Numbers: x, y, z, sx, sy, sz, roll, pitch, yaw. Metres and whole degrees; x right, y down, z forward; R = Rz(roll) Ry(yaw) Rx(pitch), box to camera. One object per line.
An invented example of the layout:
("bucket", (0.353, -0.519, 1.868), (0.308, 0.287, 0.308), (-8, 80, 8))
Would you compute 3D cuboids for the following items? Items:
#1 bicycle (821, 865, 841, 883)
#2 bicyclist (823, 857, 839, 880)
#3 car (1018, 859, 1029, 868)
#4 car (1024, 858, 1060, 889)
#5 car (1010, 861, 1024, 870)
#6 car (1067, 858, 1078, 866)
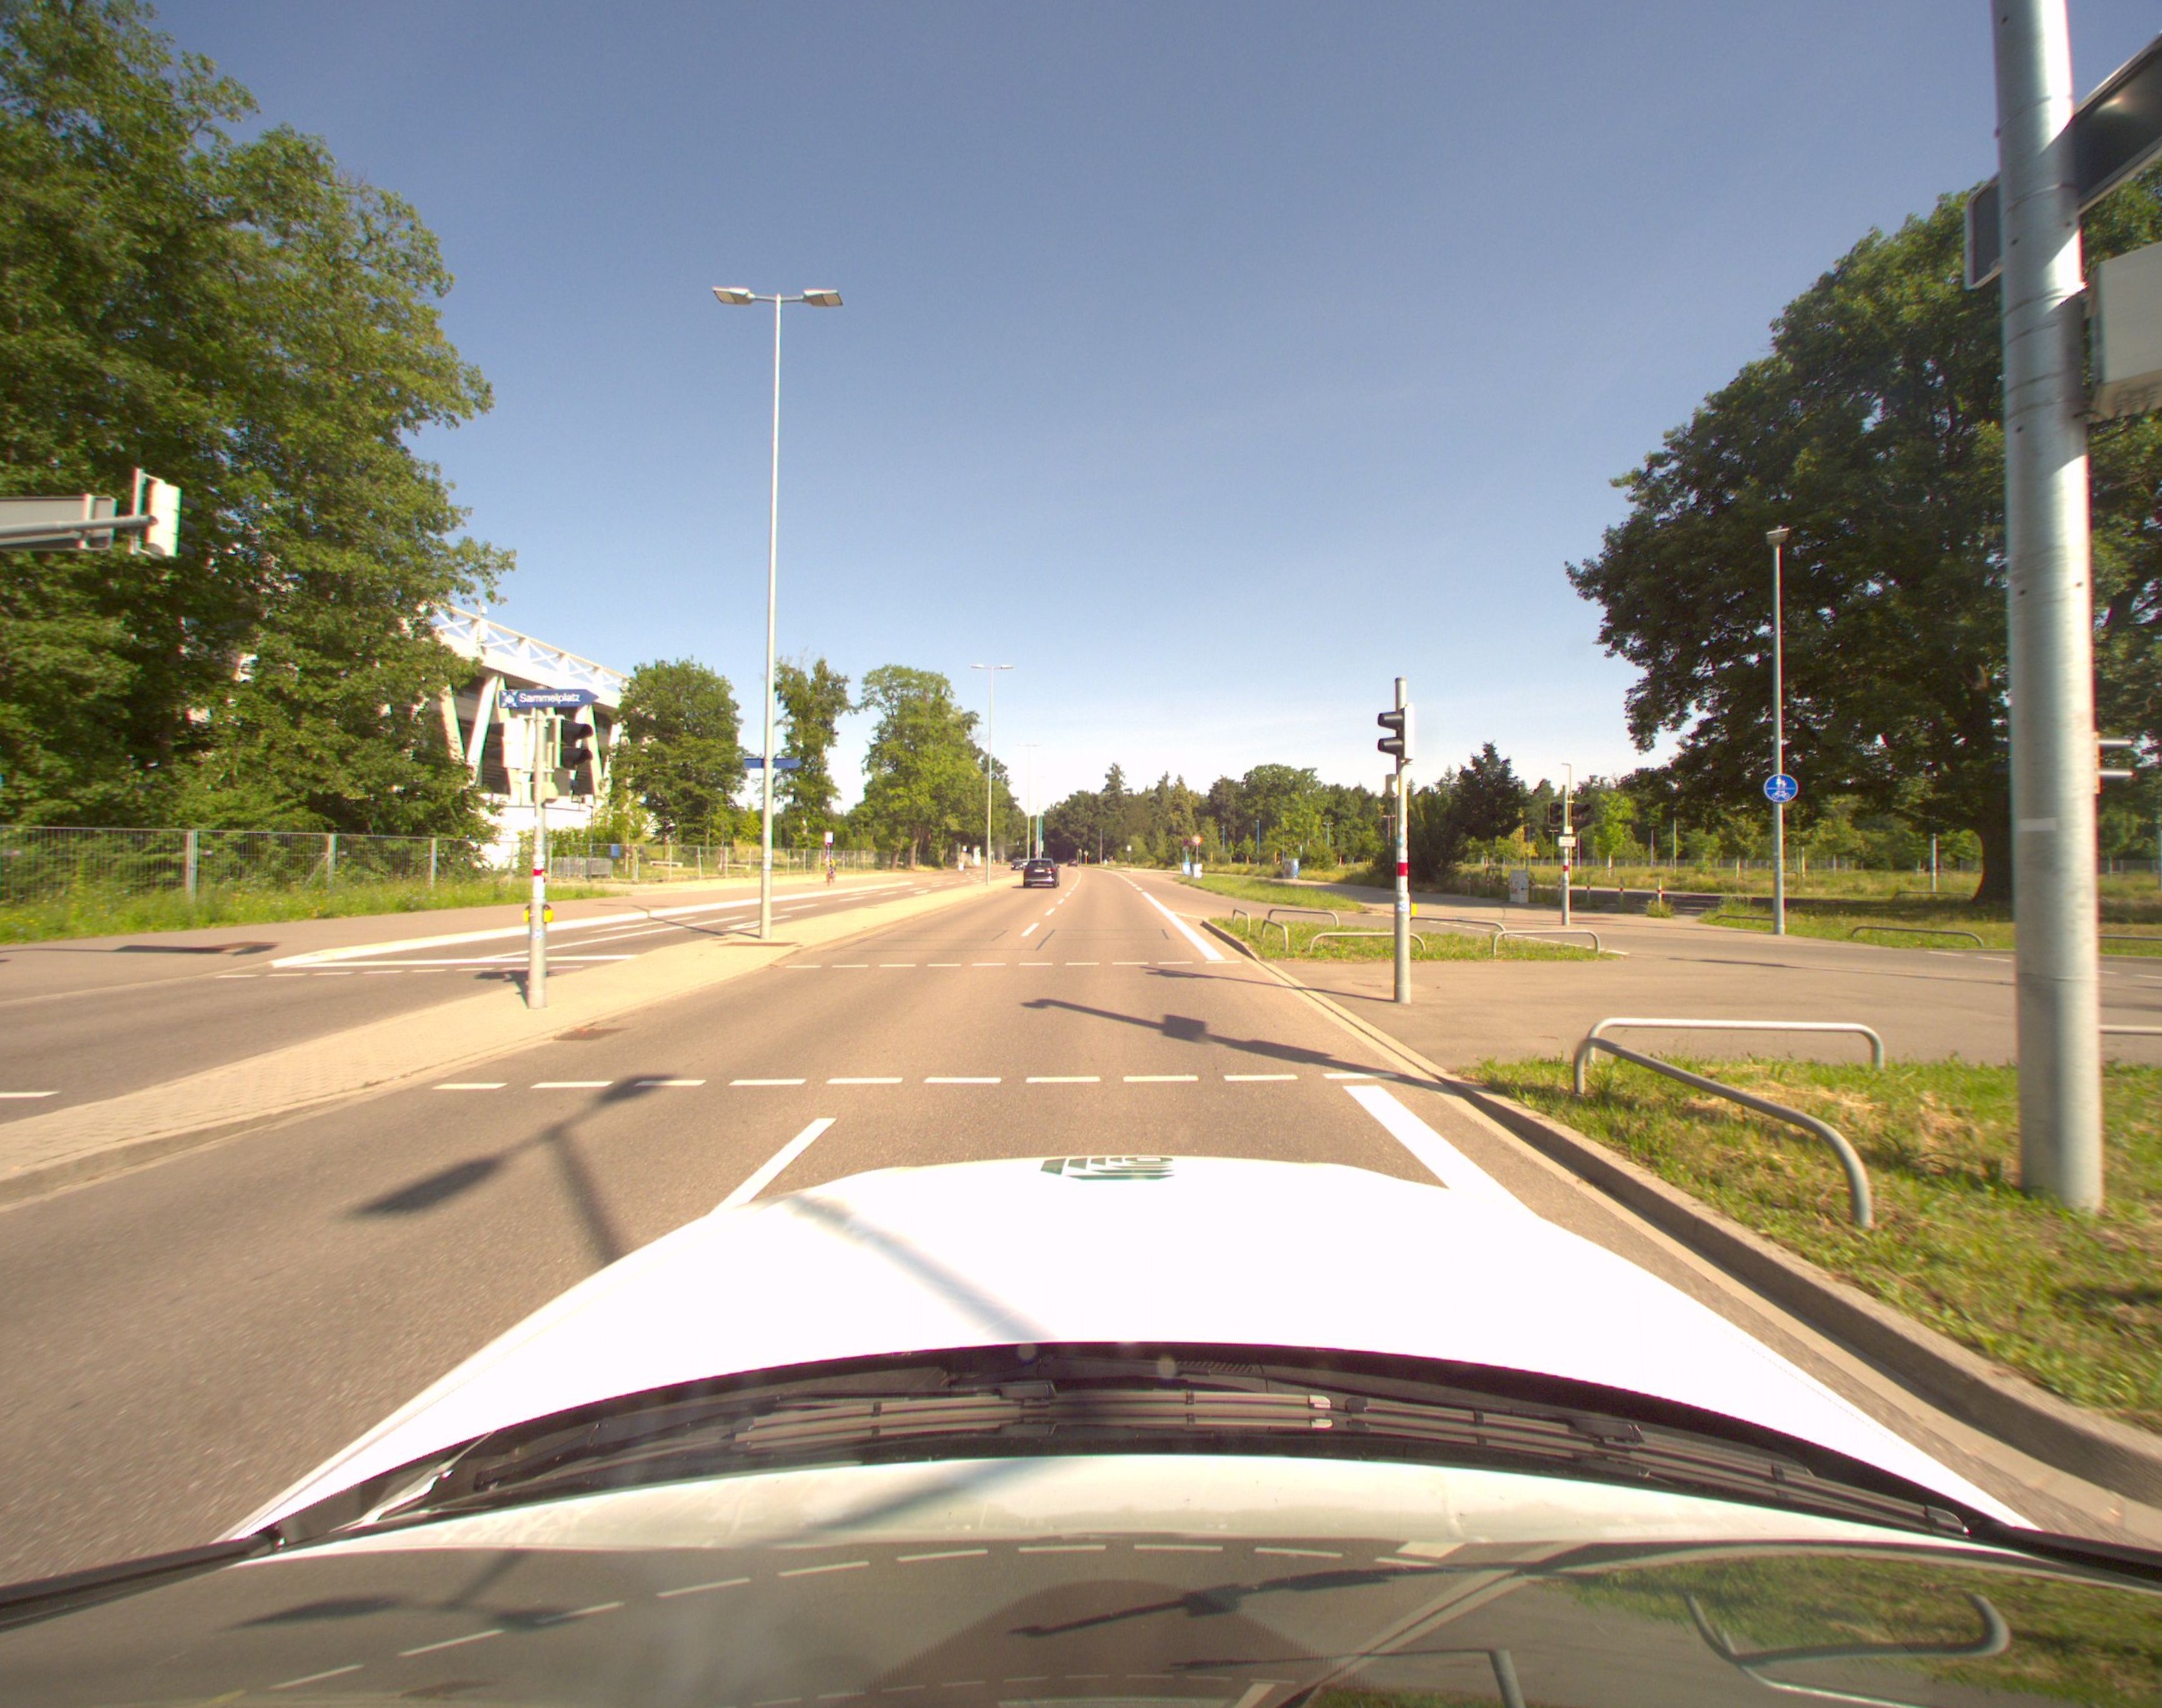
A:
("bicycle", (-16.159, 1.277, 52.648), (0.657, 1.136, 1.879), (2, 0, 1))
("bicyclist", (-16.117, 0.919, 52.526), (0.657, 1.467, 1.057), (2, 0, 1))
("car", (-9.730, 1.660, 137.465), (1.619, 1.466, 3.796), (-2, 0, -3))
("car", (-2.079, 1.032, 44.433), (1.682, 1.544, 4.149), (-1, 0, 1))
("car", (-9.501, 1.694, 120.958), (1.807, 1.388, 4.156), (-2, 0, -3))
("car", (-1.596, 1.539, 155.616), (1.936, 1.420, 4.288), (0, 0, -3))
